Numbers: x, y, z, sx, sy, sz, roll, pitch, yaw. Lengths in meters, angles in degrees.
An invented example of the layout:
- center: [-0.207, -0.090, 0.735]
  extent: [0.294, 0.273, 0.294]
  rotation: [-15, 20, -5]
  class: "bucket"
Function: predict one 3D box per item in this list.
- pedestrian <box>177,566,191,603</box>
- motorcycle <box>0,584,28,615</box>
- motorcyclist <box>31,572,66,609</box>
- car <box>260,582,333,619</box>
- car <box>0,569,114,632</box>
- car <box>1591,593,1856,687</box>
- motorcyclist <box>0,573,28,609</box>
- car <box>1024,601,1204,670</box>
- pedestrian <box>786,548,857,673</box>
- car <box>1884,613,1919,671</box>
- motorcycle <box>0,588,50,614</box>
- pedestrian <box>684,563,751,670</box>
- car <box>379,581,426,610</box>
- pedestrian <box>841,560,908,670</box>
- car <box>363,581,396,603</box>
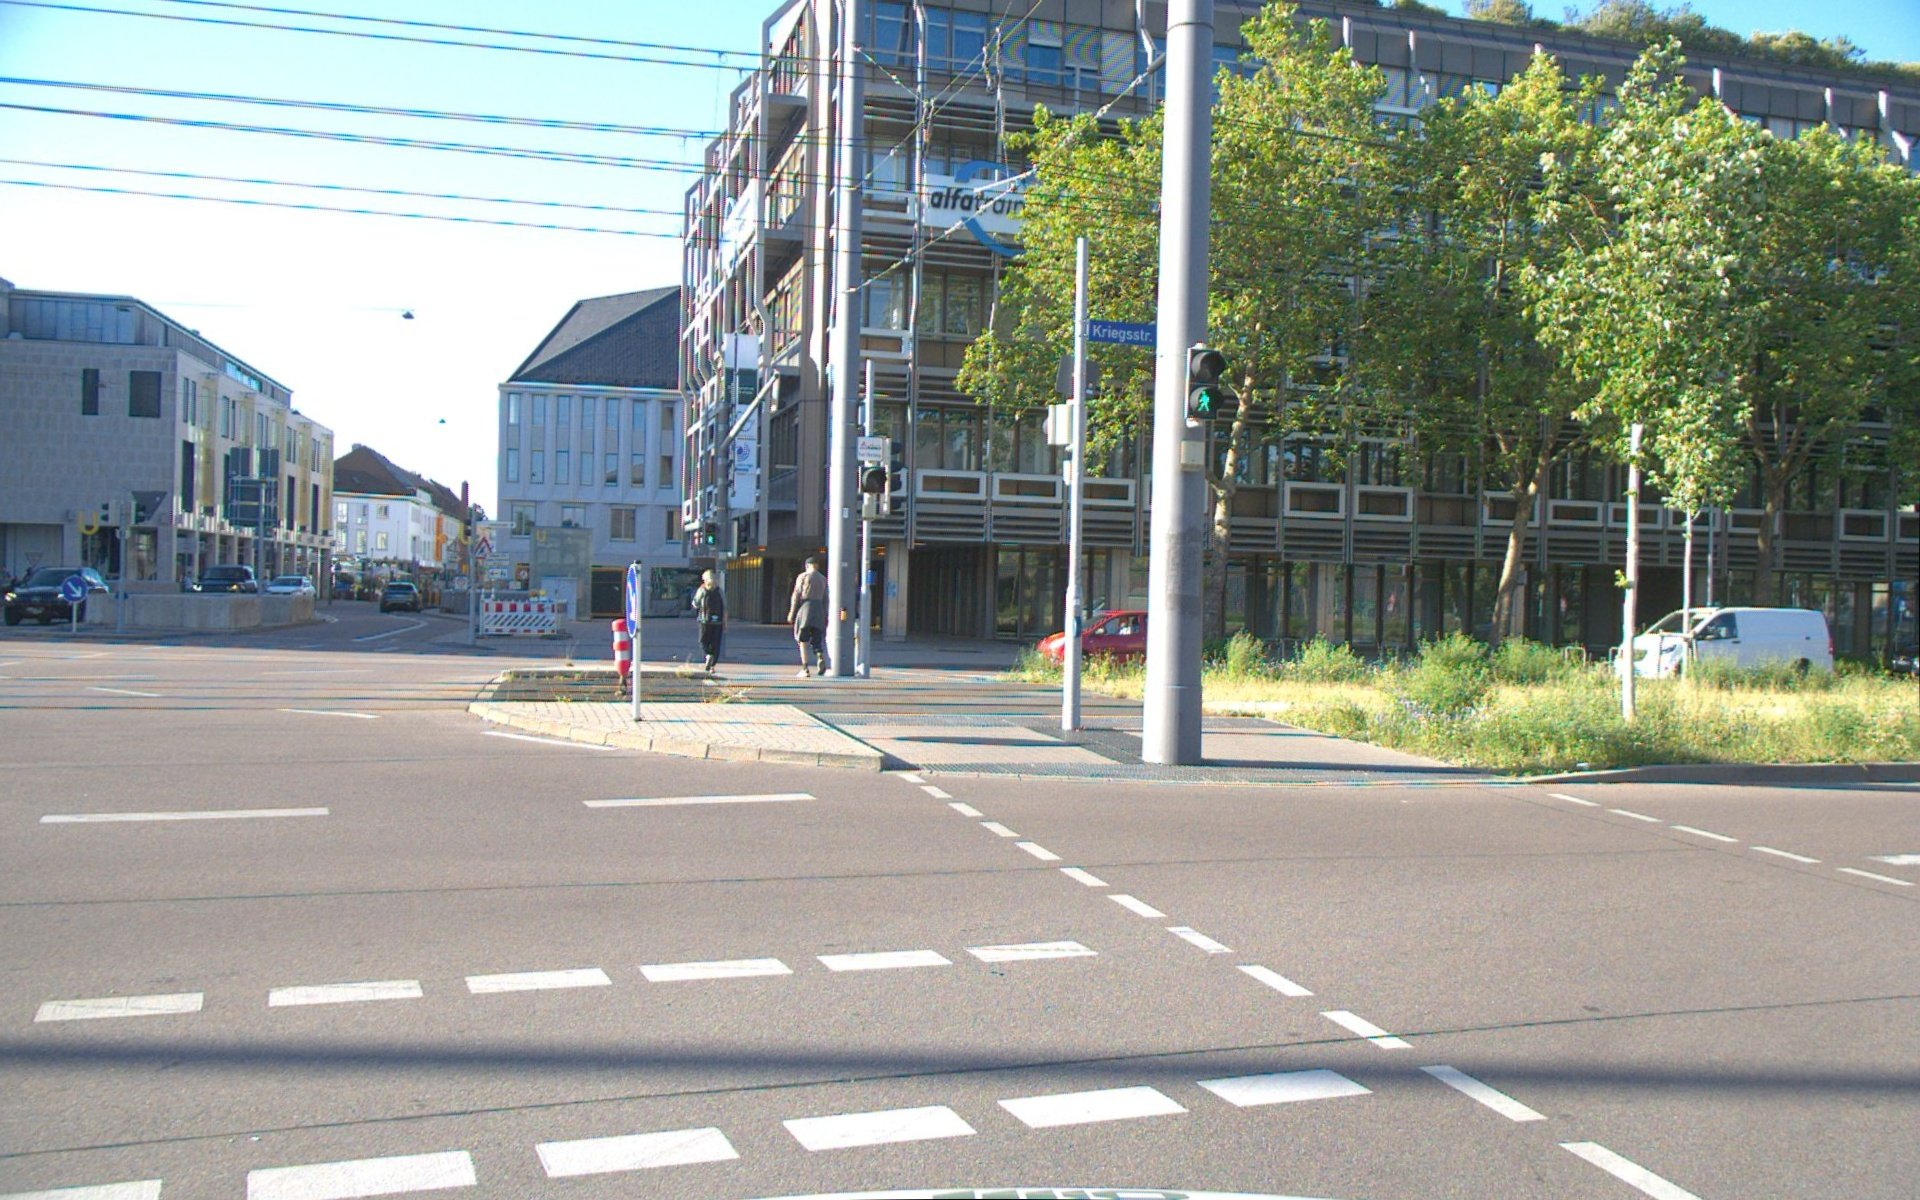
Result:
- center: [-43.977, -0.889, 93.683]
  extent: [0.608, 2.049, 0.475]
  rotation: [3, -1, -24]
  class: "pedestrian"
- center: [-40.659, -0.082, 69.270]
  extent: [2.625, 1.238, 0.912]
  rotation: [3, 0, -17]
  class: "motorcycle"
- center: [-41.361, -0.419, 75.051]
  extent: [1.119, 1.602, 0.912]
  rotation: [3, -1, -17]
  class: "motorcyclist"
- center: [-32.647, 0.028, 81.538]
  extent: [2.134, 1.722, 5.602]
  rotation: [2, 0, -10]
  class: "car"
- center: [-26.136, 0.009, 47.957]
  extent: [1.905, 1.707, 4.279]
  rotation: [1, 0, -14]
  class: "car"
- center: [17.993, 0.963, 39.030]
  extent: [5.598, 2.049, 2.256]
  rotation: [2, -2, -16]
  class: "car"
- center: [-41.066, -0.388, 71.572]
  extent: [1.020, 1.496, 0.912]
  rotation: [3, 0, -17]
  class: "motorcyclist"
- center: [3.558, 0.858, 38.391]
  extent: [3.802, 1.512, 1.839]
  rotation: [1, -3, -15]
  class: "car"
- center: [-2.009, 0.144, 23.895]
  extent: [0.842, 1.774, 0.736]
  rotation: [1, 1, -18]
  class: "pedestrian"
- center: [31.108, 1.358, 50.832]
  extent: [4.778, 1.709, 1.990]
  rotation: [2, 1, -19]
  class: "car"
- center: [-41.010, 0.021, 71.604]
  extent: [2.625, 1.013, 0.912]
  rotation: [3, 0, -17]
  class: "motorcycle"
- center: [-3.733, 0.243, 25.435]
  extent: [0.881, 1.576, 0.920]
  rotation: [1, 2, -16]
  class: "pedestrian"
- center: [-29.518, -0.237, 87.677]
  extent: [1.903, 1.475, 4.248]
  rotation: [2, 0, -13]
  class: "car"
- center: [-1.553, 0.260, 30.261]
  extent: [0.990, 1.944, 1.051]
  rotation: [2, 0, 8]
  class: "pedestrian"
- center: [-51.843, -0.722, 147.766]
  extent: [2.137, 1.905, 5.596]
  rotation: [2, 0, -13]
  class: "car"
